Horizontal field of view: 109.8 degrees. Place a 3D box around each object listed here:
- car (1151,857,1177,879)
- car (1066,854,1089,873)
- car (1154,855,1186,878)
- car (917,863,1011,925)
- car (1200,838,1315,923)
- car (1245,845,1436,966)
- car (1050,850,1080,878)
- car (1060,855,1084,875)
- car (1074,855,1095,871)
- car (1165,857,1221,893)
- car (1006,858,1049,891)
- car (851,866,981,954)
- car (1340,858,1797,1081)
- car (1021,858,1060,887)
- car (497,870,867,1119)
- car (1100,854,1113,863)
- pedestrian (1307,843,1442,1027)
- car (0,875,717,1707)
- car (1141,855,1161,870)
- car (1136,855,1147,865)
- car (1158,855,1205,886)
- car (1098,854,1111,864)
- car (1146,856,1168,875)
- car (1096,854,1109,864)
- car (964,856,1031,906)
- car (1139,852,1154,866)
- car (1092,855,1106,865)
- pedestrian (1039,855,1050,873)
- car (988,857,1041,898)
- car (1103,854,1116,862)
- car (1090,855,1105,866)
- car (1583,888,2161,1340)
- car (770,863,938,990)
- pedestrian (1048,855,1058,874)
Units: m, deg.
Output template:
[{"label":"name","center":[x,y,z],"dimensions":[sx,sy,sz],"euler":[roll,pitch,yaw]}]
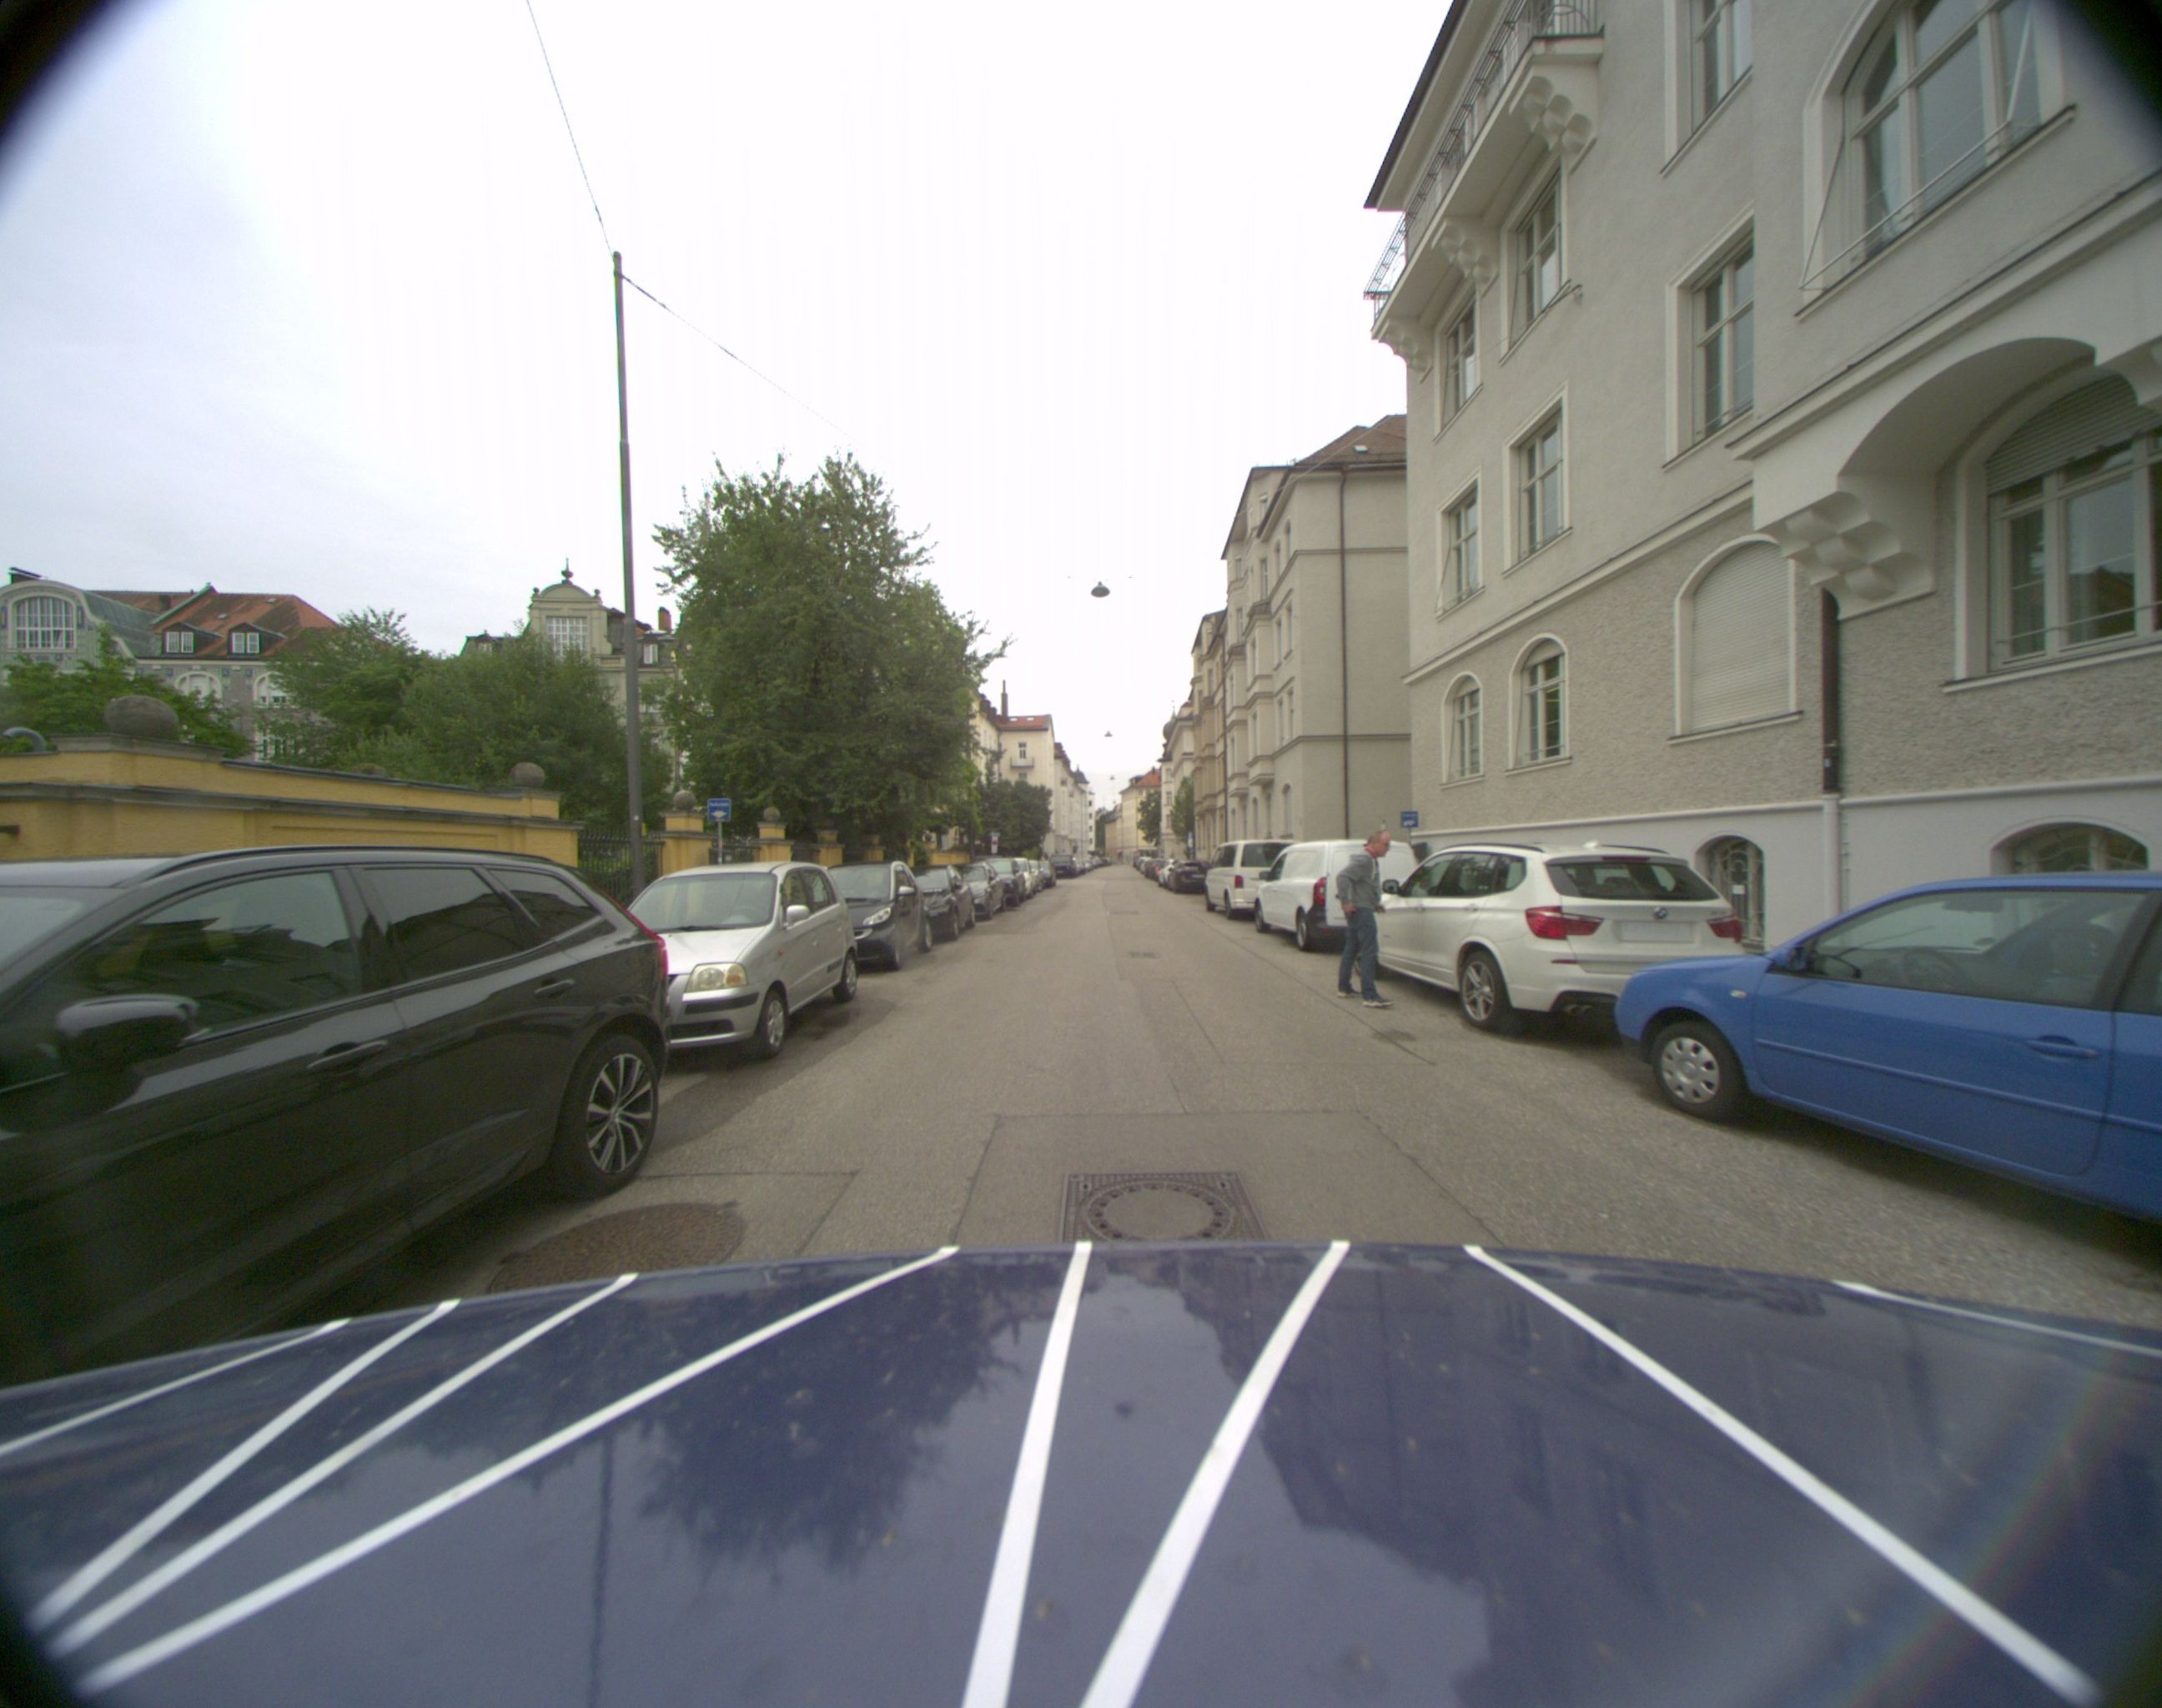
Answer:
[{"label":"car","center":[5.797,0.940,53.670],"dimensions":[1.626,1.447,3.942],"euler":[0,0,3]},{"label":"car","center":[-0.297,0.929,74.097],"dimensions":[1.998,1.585,4.299],"euler":[-4,-1,1]},{"label":"car","center":[5.694,0.771,48.741],"dimensions":[1.809,1.355,3.730],"euler":[0,0,3]},{"label":"car","center":[-2.996,0.978,20.383],"dimensions":[1.696,1.406,4.516],"euler":[-1,0,1]},{"label":"car","center":[4.427,0.605,19.900],"dimensions":[1.860,1.927,4.957],"euler":[0,0,0]},{"label":"car","center":[4.374,0.755,13.740],"dimensions":[1.751,1.778,5.036],"euler":[0,0,0]},{"label":"car","center":[-1.201,0.773,58.976],"dimensions":[1.998,1.949,4.433],"euler":[-4,-1,1]},{"label":"car","center":[-0.800,1.003,69.156],"dimensions":[1.998,1.643,4.449],"euler":[-4,-1,1]},{"label":"car","center":[0.388,1.034,86.292],"dimensions":[1.998,1.585,4.300],"euler":[-4,-1,4]},{"label":"car","center":[4.859,0.870,33.423],"dimensions":[1.860,1.404,4.379],"euler":[1,0,1]},{"label":"car","center":[-2.511,0.925,36.430],"dimensions":[1.717,1.445,4.184],"euler":[-1,0,1]},{"label":"car","center":[-3.148,1.008,15.284],"dimensions":[1.696,1.406,4.036],"euler":[-3,0,-1]},{"label":"car","center":[4.322,0.856,7.788],"dimensions":[1.751,1.593,4.496],"euler":[0,0,-1]},{"label":"car","center":[-2.135,0.963,41.171],"dimensions":[1.717,1.445,4.955],"euler":[-1,0,1]},{"label":"car","center":[-3.197,0.980,6.965],"dimensions":[1.488,1.530,3.692],"euler":[-3,0,-2]},{"label":"car","center":[4.953,0.787,146.782],"dimensions":[1.997,1.585,4.301],"euler":[-4,-1,8]},{"label":"pedestrian","center":[2.959,0.776,7.749],"dimensions":[0.964,1.745,0.876],"euler":[-1,0,-7]},{"label":"car","center":[-3.091,0.985,2.083],"dimensions":[1.889,1.643,4.823],"euler":[-3,0,-1]},{"label":"car","center":[6.810,0.785,73.932],"dimensions":[1.627,1.421,3.689],"euler":[0,0,1]},{"label":"car","center":[9.201,0.881,115.808],"dimensions":[1.626,1.522,3.921],"euler":[0,0,2]},{"label":"car","center":[5.019,0.812,38.479],"dimensions":[1.860,1.455,4.379],"euler":[0,0,1]},{"label":"car","center":[4.355,0.933,141.932],"dimensions":[1.998,1.585,4.429],"euler":[-4,-1,6]},{"label":"car","center":[5.908,0.854,59.325],"dimensions":[1.626,1.421,3.942],"euler":[0,0,4]},{"label":"car","center":[3.866,0.934,136.514],"dimensions":[1.998,1.672,4.301],"euler":[-4,-1,6]},{"label":"car","center":[-2.803,0.863,26.414],"dimensions":[1.717,1.561,4.691],"euler":[-1,0,1]},{"label":"car","center":[7.699,0.560,89.220],"dimensions":[1.626,1.522,3.690],"euler":[0,0,2]},{"label":"car","center":[3.163,0.976,131.406],"dimensions":[1.998,1.585,4.300],"euler":[-4,-1,4]},{"label":"pedestrian","center":[-3.476,0.971,72.384],"dimensions":[0.876,1.680,1.052],"euler":[-1,1,2]},{"label":"car","center":[-2.686,0.919,31.520],"dimensions":[1.717,1.561,4.320],"euler":[-1,0,1]},{"label":"car","center":[5.909,0.820,155.613],"dimensions":[1.997,1.585,4.302],"euler":[-4,-1,9]},{"label":"car","center":[2.652,1.001,121.819],"dimensions":[1.998,1.585,4.300],"euler":[-4,-1,4]},{"label":"car","center":[4.396,0.934,3.323],"dimensions":[1.697,1.406,3.660],"euler":[0,0,-7]},{"label":"car","center":[-3.246,0.966,11.397],"dimensions":[1.511,1.557,2.869],"euler":[-3,0,2]},{"label":"pedestrian","center":[-2.684,1.011,72.305],"dimensions":[0.876,1.745,1.052],"euler":[-1,1,2]}]
